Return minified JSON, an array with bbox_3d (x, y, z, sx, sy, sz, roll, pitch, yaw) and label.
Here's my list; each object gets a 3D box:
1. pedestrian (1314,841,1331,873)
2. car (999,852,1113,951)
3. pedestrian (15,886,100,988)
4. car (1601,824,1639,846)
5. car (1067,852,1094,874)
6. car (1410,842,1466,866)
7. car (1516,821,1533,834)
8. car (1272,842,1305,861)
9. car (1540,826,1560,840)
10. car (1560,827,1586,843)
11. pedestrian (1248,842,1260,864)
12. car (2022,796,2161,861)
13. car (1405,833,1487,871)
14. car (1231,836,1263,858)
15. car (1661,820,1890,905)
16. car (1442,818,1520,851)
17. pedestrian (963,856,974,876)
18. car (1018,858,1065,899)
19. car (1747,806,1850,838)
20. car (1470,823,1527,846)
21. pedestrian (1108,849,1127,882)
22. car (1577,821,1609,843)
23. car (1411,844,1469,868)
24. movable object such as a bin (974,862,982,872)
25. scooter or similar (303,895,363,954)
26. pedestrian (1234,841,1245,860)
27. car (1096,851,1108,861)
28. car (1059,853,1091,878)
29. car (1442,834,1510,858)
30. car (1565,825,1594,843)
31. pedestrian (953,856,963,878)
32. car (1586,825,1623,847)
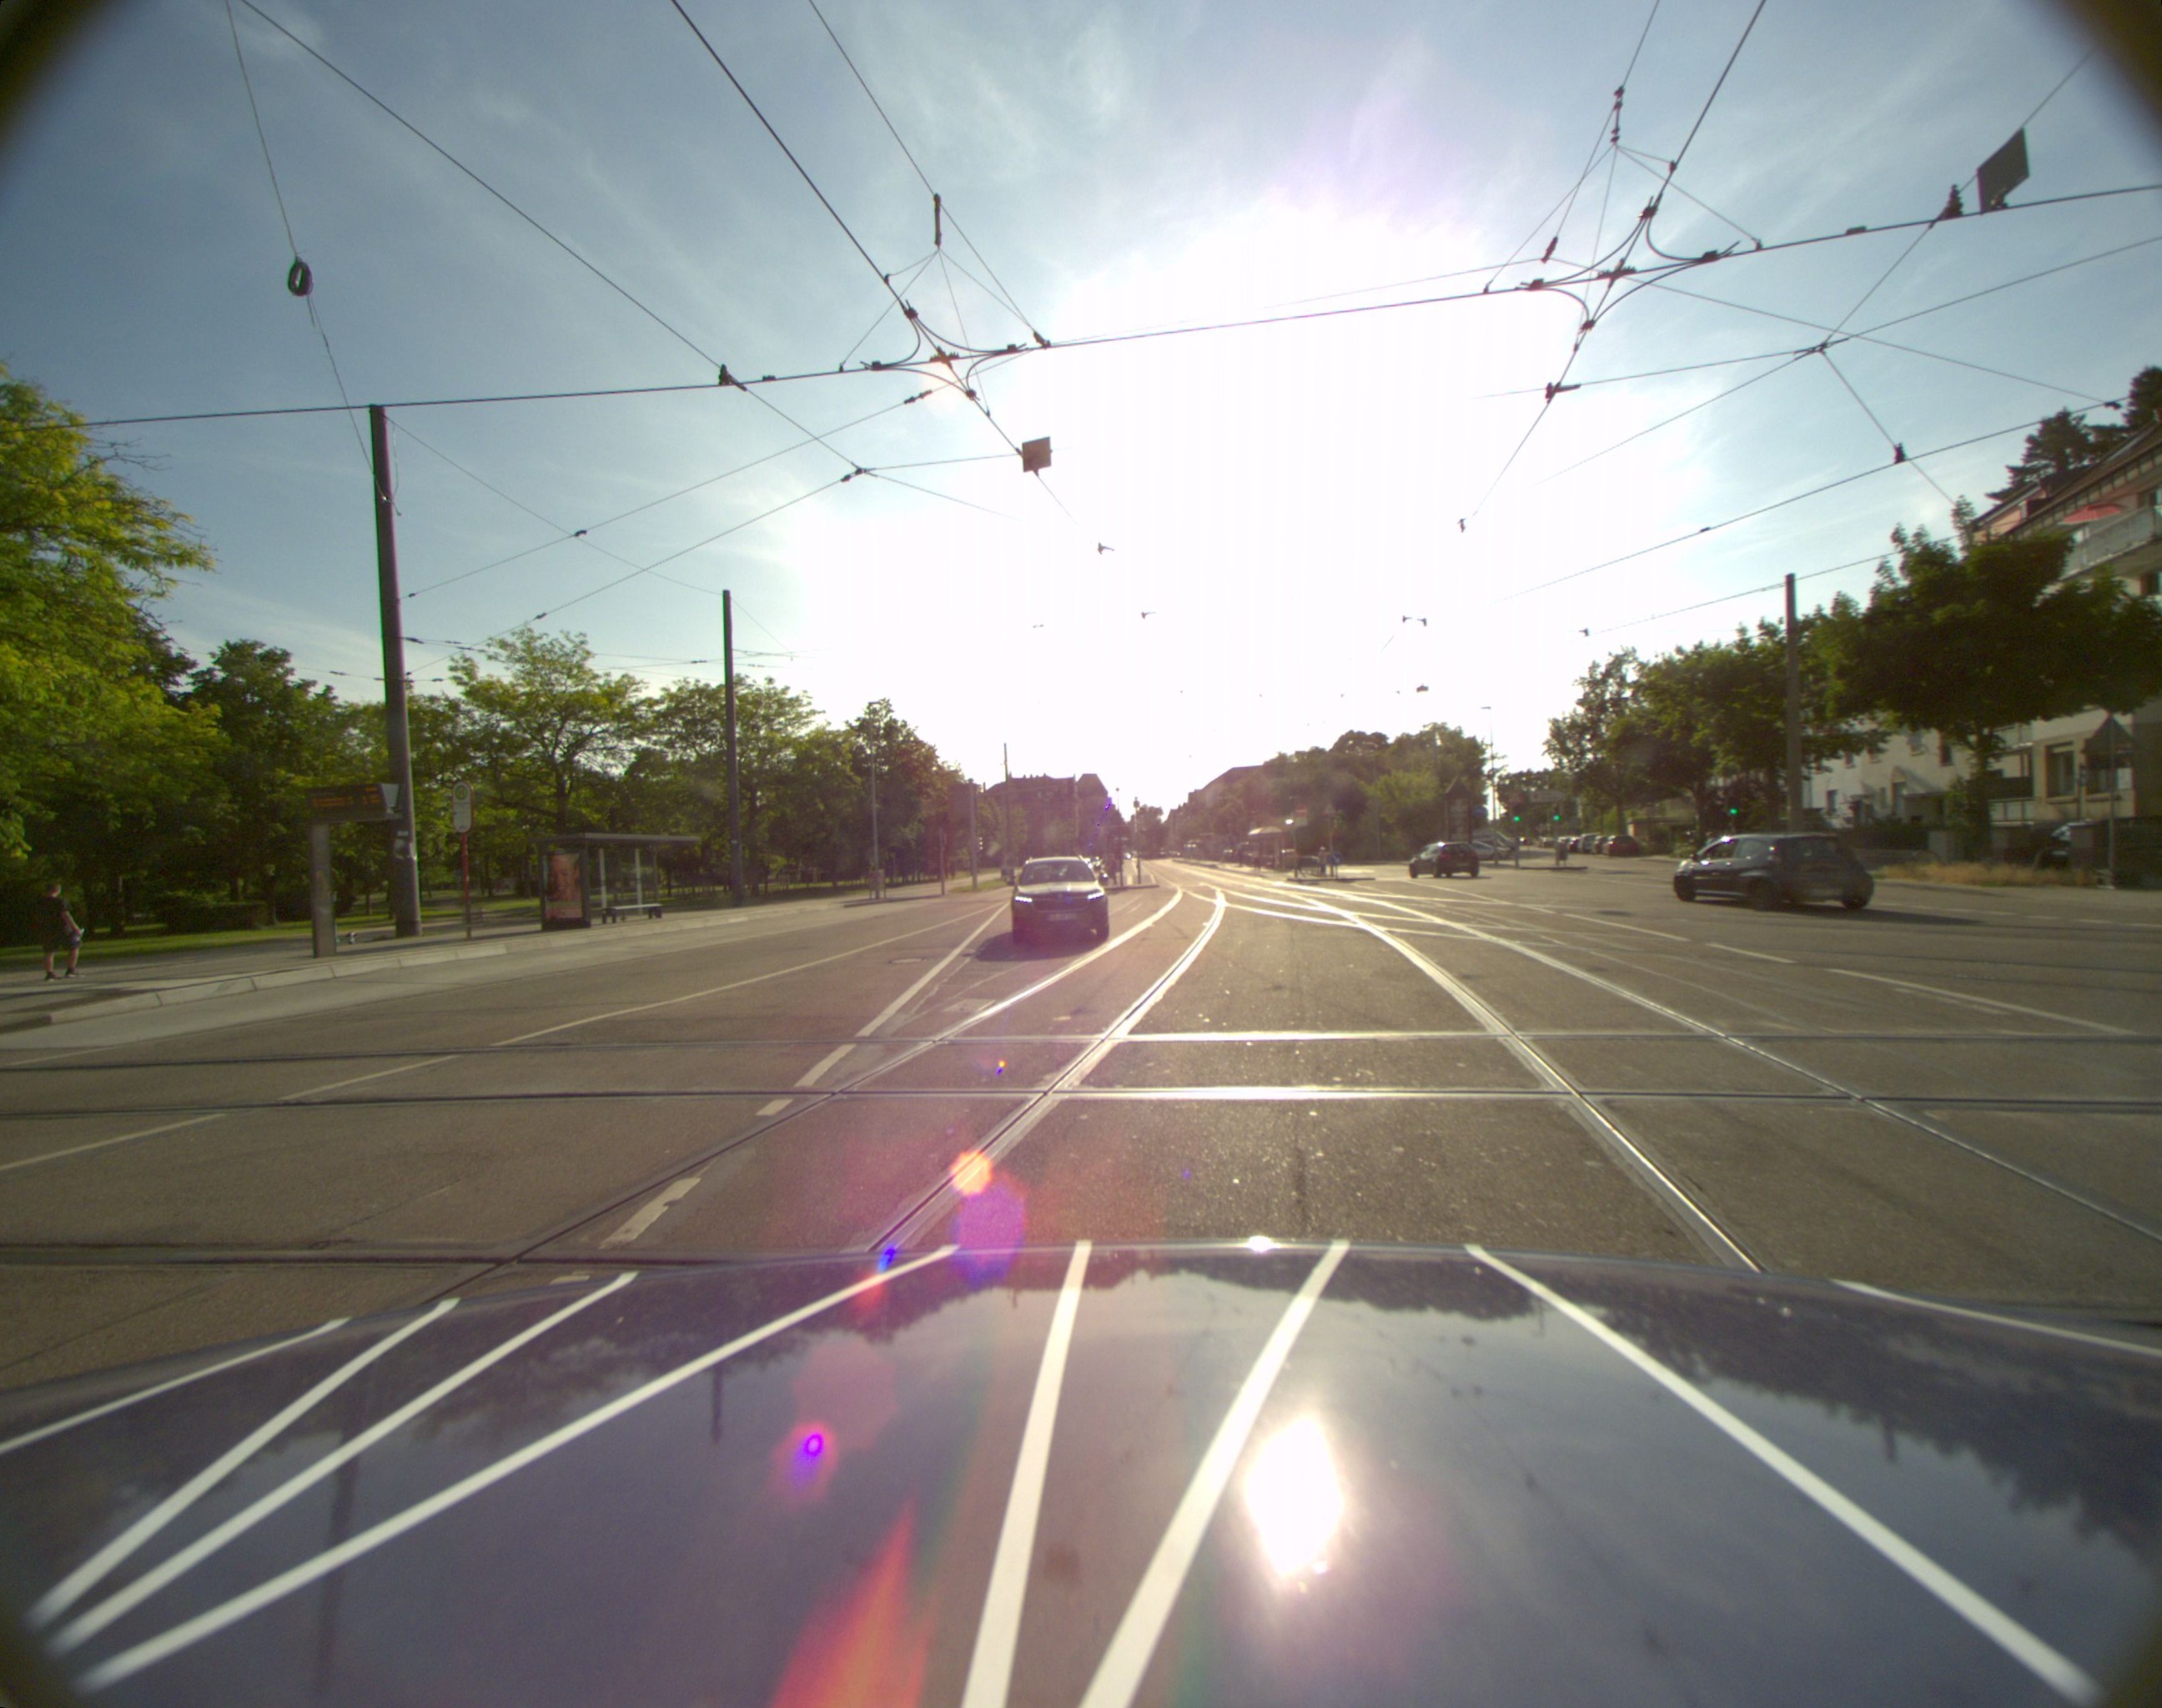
[{"bbox_3d":[12.358,0.135,38.889,0.591,1.580,0.715,-3,1,0],"label":"pedestrian"},{"bbox_3d":[-0.393,0.793,14.704,1.781,1.496,4.000,-5,0,1],"label":"car"},{"bbox_3d":[-18.698,1.501,13.896,0.579,1.766,0.587,-5,1,-1],"label":"pedestrian"},{"bbox_3d":[37.191,-1.309,52.514,1.546,1.418,3.871,-3,0,27],"label":"car"},{"bbox_3d":[0.019,0.687,59.997,1.781,1.496,4.001,-3,0,4],"label":"car"},{"bbox_3d":[29.150,-0.028,62.093,3.991,1.744,1.857,-3,1,22],"label":"car"},{"bbox_3d":[67.166,-3.976,115.138,1.814,1.789,4.006,-2,0,24],"label":"car"},{"bbox_3d":[17.508,-0.161,64.425,1.771,1.486,4.746,-3,-1,4],"label":"car"},{"bbox_3d":[64.356,-2.929,104.341,1.814,1.789,4.006,-2,0,24],"label":"car"},{"bbox_3d":[50.559,-1.998,78.210,1.813,1.528,4.006,-2,0,27],"label":"car"},{"bbox_3d":[12.877,-0.078,56.671,0.707,1.619,0.727,-3,1,4],"label":"pedestrian"},{"bbox_3d":[28.724,-0.725,20.367,3.990,1.622,1.779,-3,0,28],"label":"car"},{"bbox_3d":[15.562,-0.087,32.633,1.771,1.425,4.001,-3,0,4],"label":"car"},{"bbox_3d":[18.247,-0.785,83.778,2.182,2.226,5.252,-3,0,0],"label":"car"},{"bbox_3d":[13.580,0.135,15.176,1.637,1.425,3.630,-3,0,9],"label":"car"},{"bbox_3d":[39.189,-1.885,74.597,6.587,2.792,1.775,-3,1,25],"label":"car"},{"bbox_3d":[-9.644,1.004,65.147,0.621,1.642,0.663,-3,1,12],"label":"pedestrian"},{"bbox_3d":[-1.619,0.997,32.551,1.781,1.496,3.999,-3,0,-1],"label":"car"},{"bbox_3d":[41.262,-1.813,43.820,3.990,1.549,1.859,-3,1,29],"label":"car"},{"bbox_3d":[35.278,-1.627,64.371,3.991,1.744,1.857,-3,1,22],"label":"car"},{"bbox_3d":[1.904,0.603,39.473,0.882,1.660,0.672,-3,1,6],"label":"pedestrian"},{"bbox_3d":[44.422,-1.880,65.984,1.814,1.789,4.006,-2,0,27],"label":"car"},{"bbox_3d":[28.394,0.155,60.269,3.991,1.744,1.857,-3,1,22],"label":"car"},{"bbox_3d":[-10.056,1.283,73.981,0.502,0.898,0.525,-2,1,42],"label":"movable object such as a bin"},{"bbox_3d":[-17.206,1.602,17.508,0.352,1.225,1.135,-3,1,-10],"label":"scooter or similar"},{"bbox_3d":[13.974,-0.295,67.057,0.736,1.619,0.689,-3,1,4],"label":"pedestrian"},{"bbox_3d":[3.640,0.356,132.318,1.998,1.674,4.000,-3,0,2],"label":"car"},{"bbox_3d":[-0.352,0.716,49.472,1.672,1.496,3.872,-3,0,4],"label":"car"},{"bbox_3d":[26.898,-0.530,51.835,3.990,1.420,1.775,-3,1,25],"label":"car"},{"bbox_3d":[47.975,-1.907,73.211,1.814,1.604,4.006,-2,0,27],"label":"car"},{"bbox_3d":[-9.519,0.981,58.873,0.558,1.691,0.662,-3,1,3],"label":"pedestrian"},{"bbox_3d":[39.661,-1.378,57.643,1.813,1.563,4.006,-2,0,27],"label":"car"}]
